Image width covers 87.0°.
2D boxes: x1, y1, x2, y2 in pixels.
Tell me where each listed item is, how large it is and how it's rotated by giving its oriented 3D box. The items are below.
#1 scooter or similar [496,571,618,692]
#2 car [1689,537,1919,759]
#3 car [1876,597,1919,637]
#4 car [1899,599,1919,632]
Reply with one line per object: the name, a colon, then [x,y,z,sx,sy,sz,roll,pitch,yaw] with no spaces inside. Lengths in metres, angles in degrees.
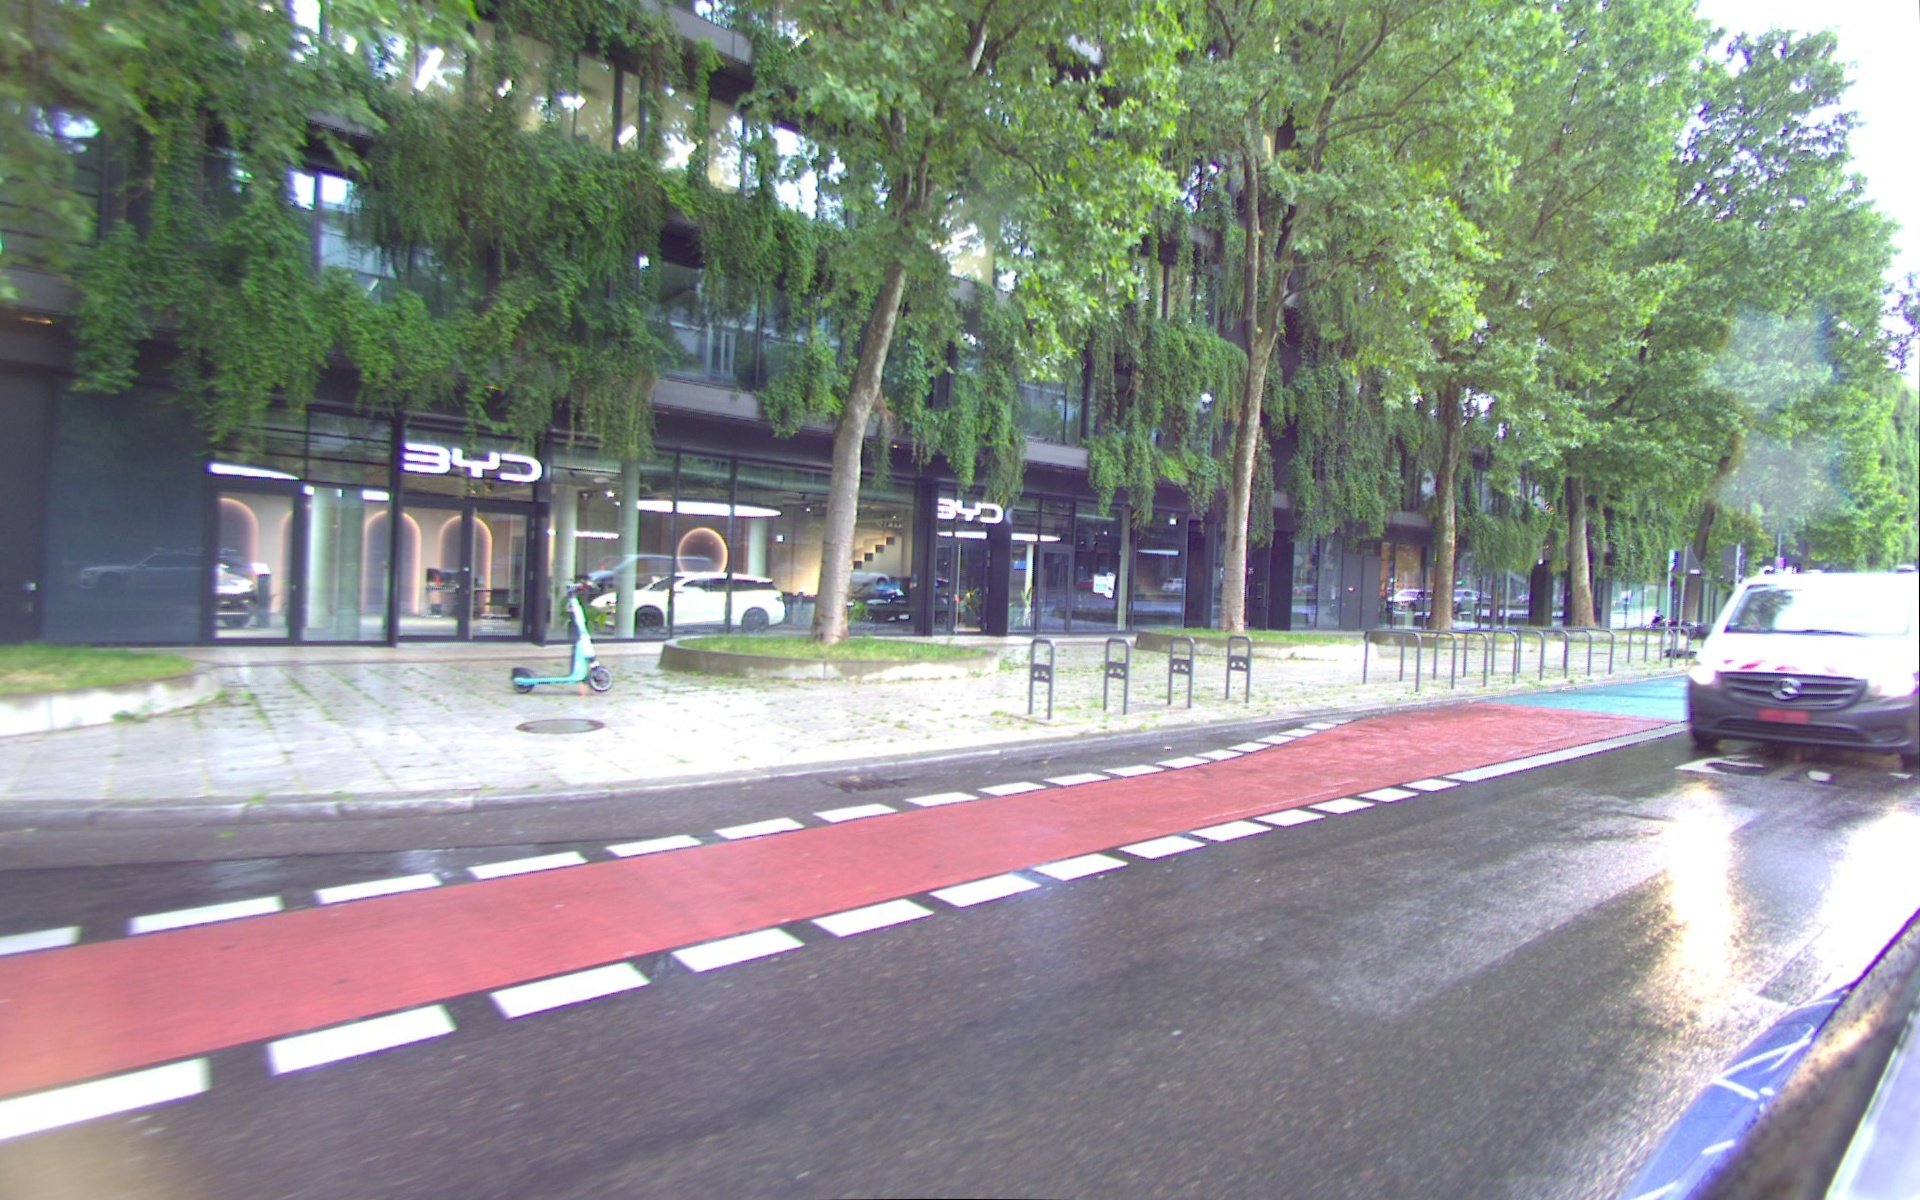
scooter or similar: [-4.480,0.336,11.272,1.165,1.298,0.535,0,0,10]
car: [9.897,0.416,11.178,4.877,1.970,1.922,-1,0,-41]
car: [44.357,0.758,47.207,4.519,1.758,1.931,-1,0,-41]
car: [48.987,0.766,50.864,4.502,1.581,2.035,-1,0,-39]
